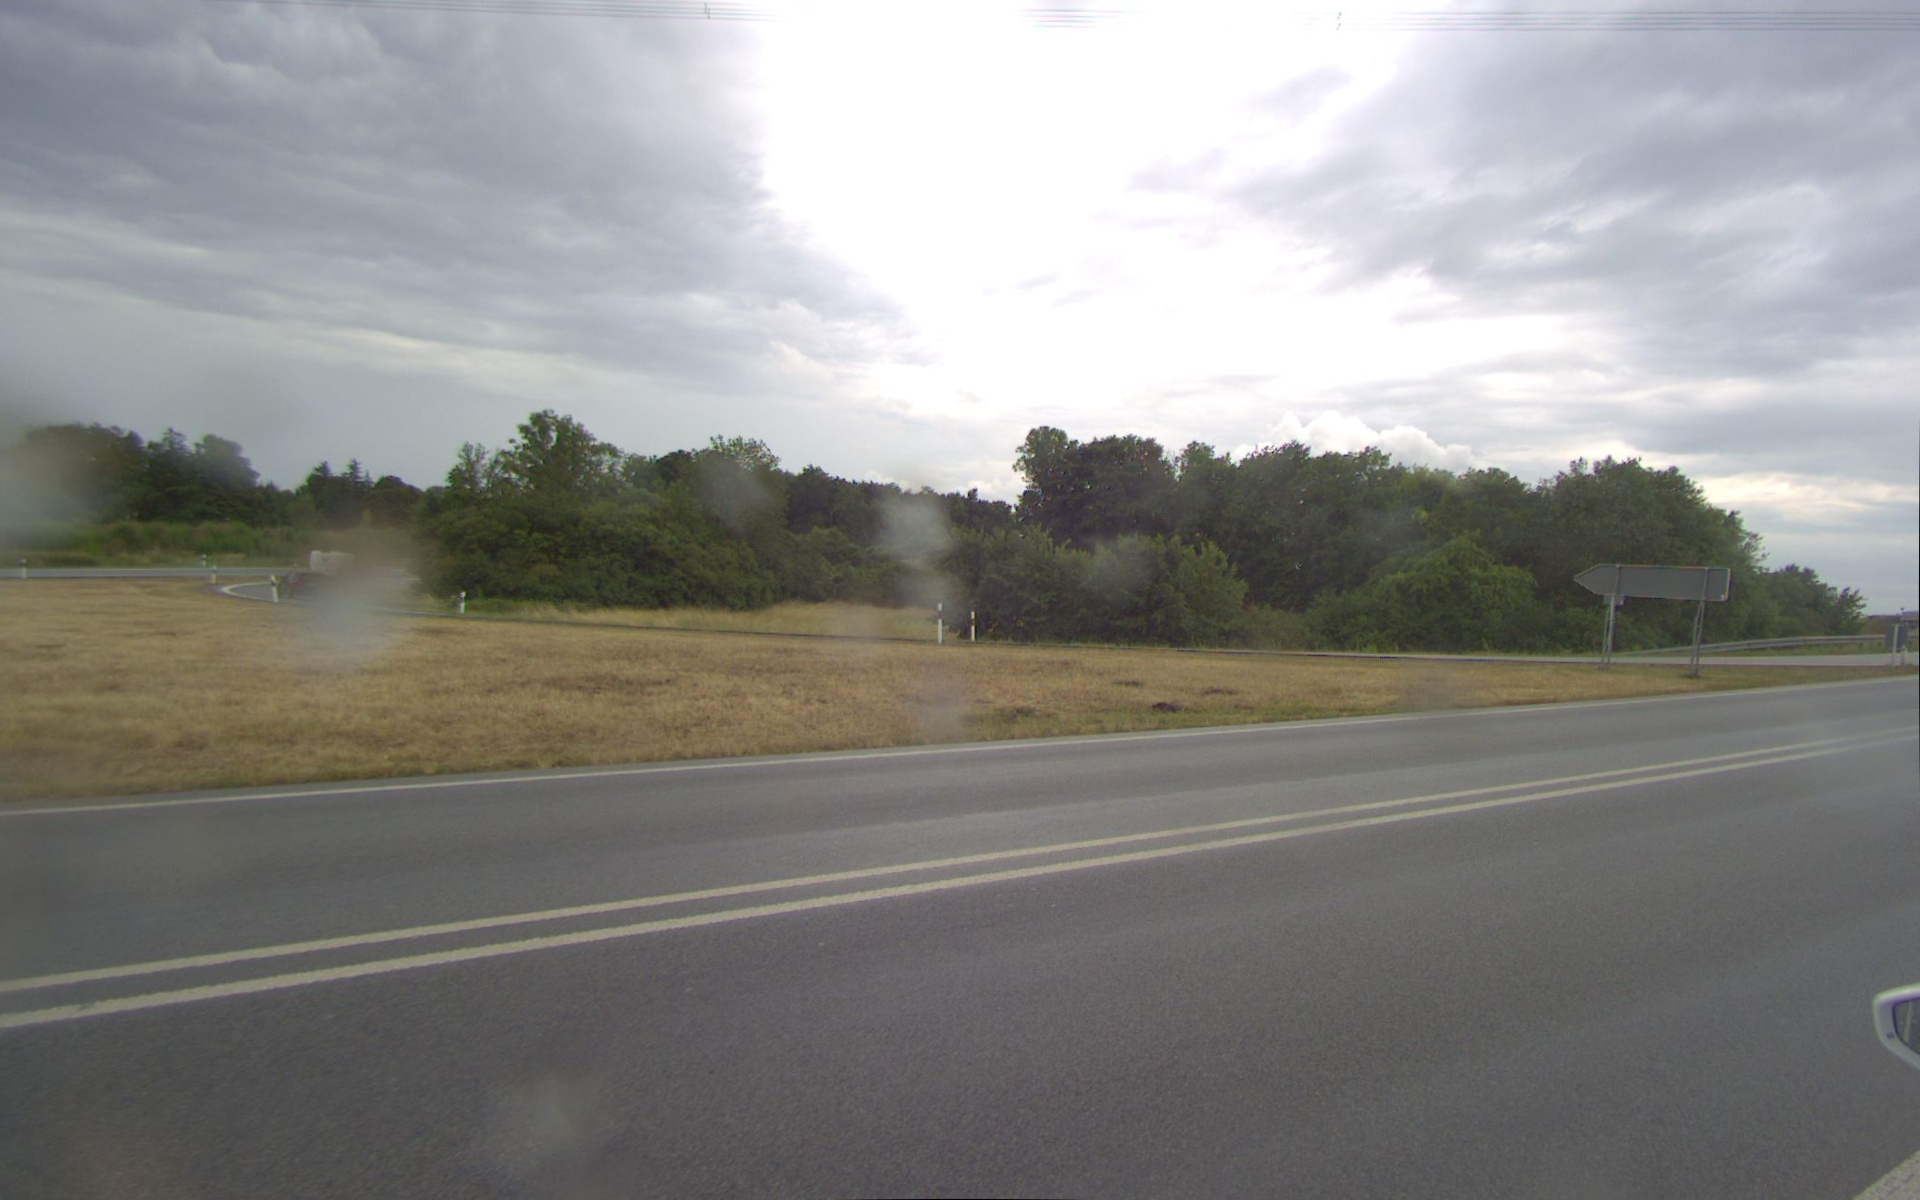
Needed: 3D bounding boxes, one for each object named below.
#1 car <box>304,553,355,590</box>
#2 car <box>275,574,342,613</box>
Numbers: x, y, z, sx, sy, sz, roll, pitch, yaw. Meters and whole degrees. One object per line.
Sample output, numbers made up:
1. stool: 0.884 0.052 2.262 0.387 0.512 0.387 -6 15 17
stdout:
1. car: -44.992 -2.003 71.794 2.411 2.422 5.432 3 0 -27
2. car: -32.594 -0.344 50.212 1.975 1.625 3.863 3 1 -45
